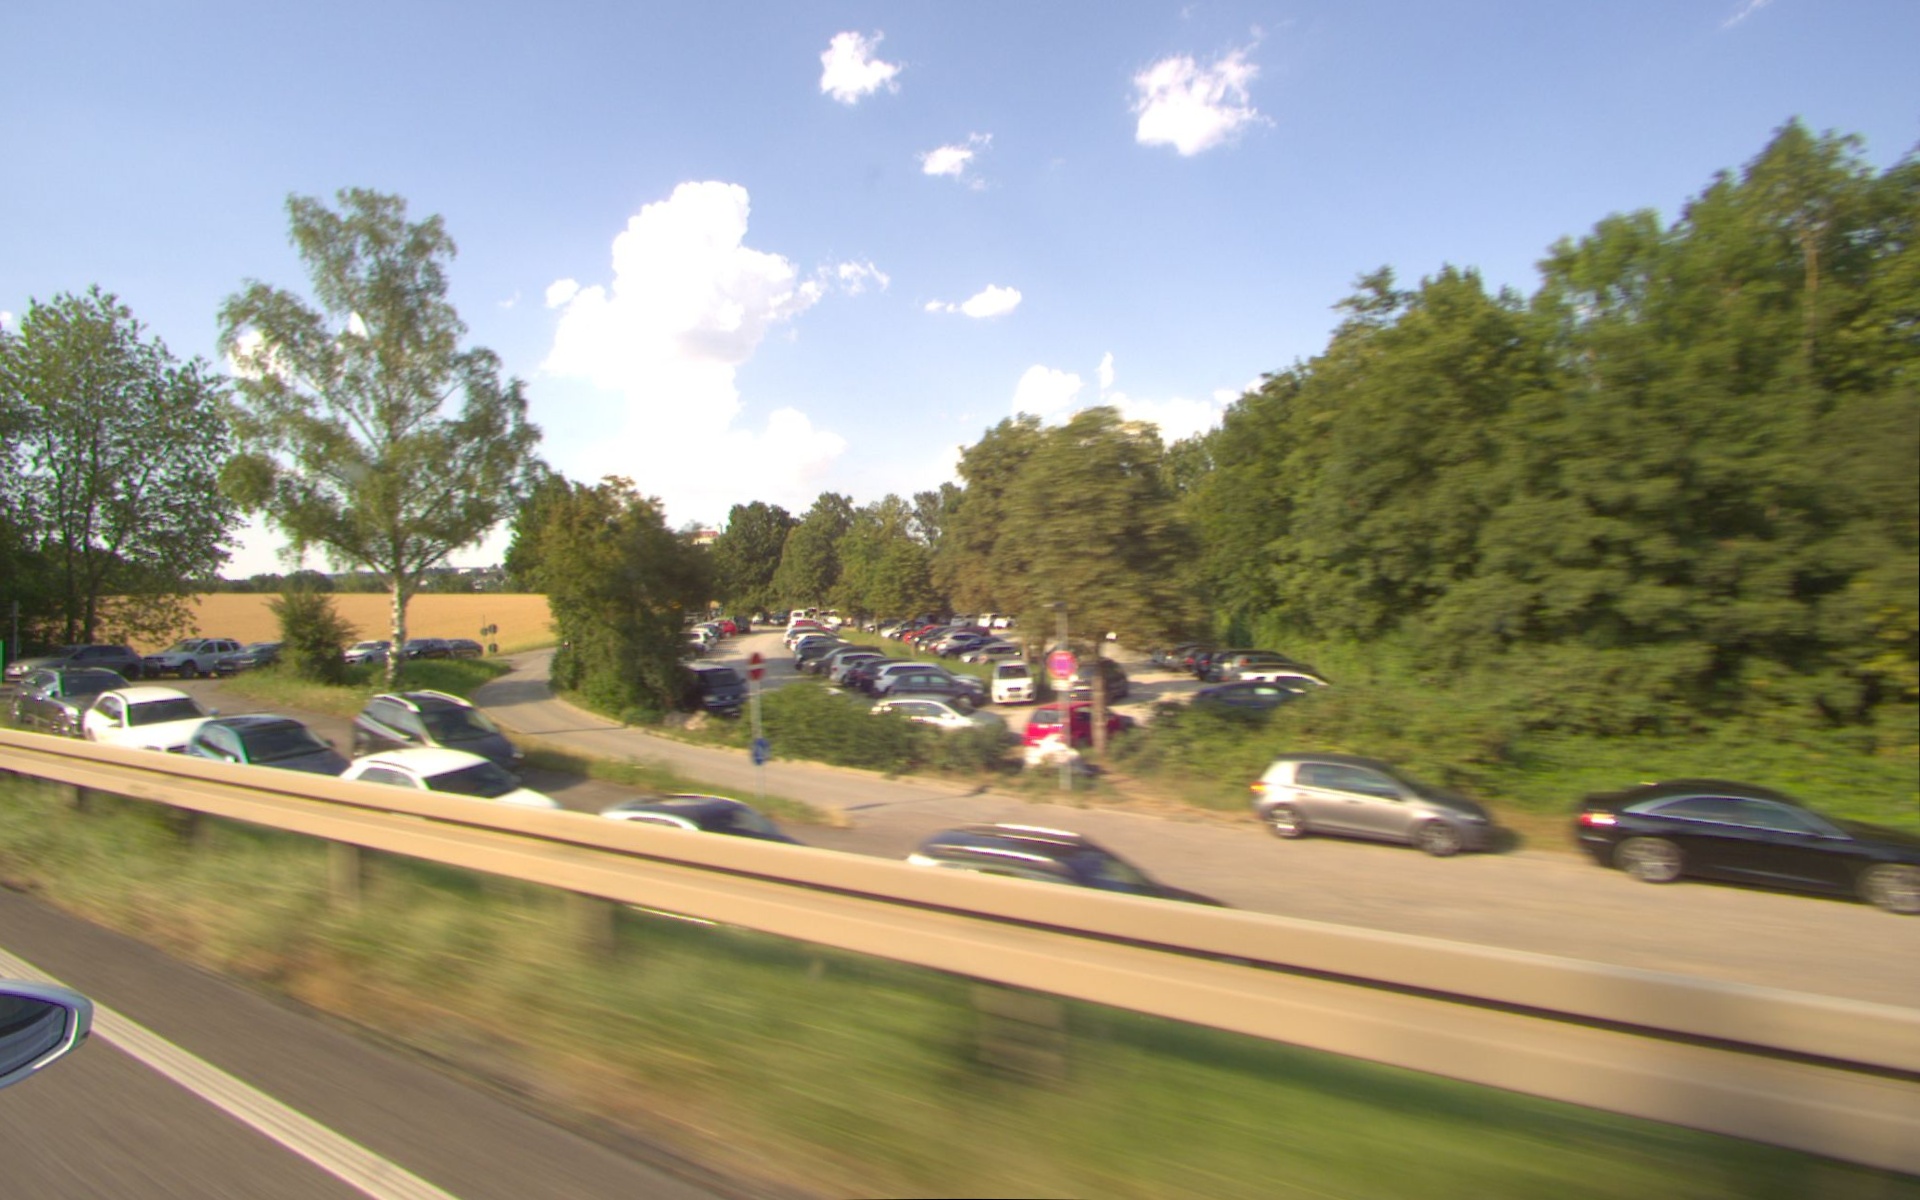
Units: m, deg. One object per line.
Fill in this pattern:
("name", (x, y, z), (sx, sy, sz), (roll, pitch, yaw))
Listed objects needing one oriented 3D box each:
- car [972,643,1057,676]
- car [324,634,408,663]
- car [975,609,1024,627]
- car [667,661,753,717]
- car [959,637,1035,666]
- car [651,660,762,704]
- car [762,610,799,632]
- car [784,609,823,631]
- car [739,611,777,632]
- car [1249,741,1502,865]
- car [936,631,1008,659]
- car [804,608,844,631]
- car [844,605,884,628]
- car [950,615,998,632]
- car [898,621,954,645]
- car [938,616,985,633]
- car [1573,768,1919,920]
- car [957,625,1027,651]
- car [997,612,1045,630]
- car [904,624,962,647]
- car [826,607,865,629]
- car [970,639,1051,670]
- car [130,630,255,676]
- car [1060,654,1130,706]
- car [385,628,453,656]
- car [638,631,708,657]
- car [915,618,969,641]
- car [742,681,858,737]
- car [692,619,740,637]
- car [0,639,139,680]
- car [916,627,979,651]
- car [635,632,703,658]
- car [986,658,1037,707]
("car", (2.993, 3.295, 55.841), (4.508, 1.713, 1.803), (0, 0, -5))
("car", (-32.950, 2.666, 55.700), (1.961, 1.526, 4.645), (0, -2, -1))
("car", (3.877, 1.794, 98.546), (4.512, 1.713, 1.802), (0, 0, -13))
("car", (-9.973, 3.466, 39.738), (1.781, 1.866, 4.565), (0, -1, -35))
("car", (2.265, 3.151, 61.757), (4.508, 1.713, 1.803), (0, 0, -5))
("car", (-11.375, 3.649, 45.013), (4.534, 1.713, 1.793), (0, -1, -32))
("car", (-20.323, 2.318, 113.602), (2.316, 2.272, 5.666), (-2, 0, 10))
("car", (-17.715, 2.223, 113.369), (2.455, 2.339, 6.074), (-2, 0, 10))
("car", (-22.952, 2.419, 114.144), (2.316, 2.272, 5.666), (-2, 0, 10))
("car", (7.531, 3.595, 18.261), (4.039, 1.418, 1.697), (1, 4, 31))
("car", (0.761, 2.892, 64.383), (4.508, 1.713, 1.803), (0, 0, -5))
("car", (-15.140, 2.139, 111.743), (2.318, 2.272, 5.661), (-2, 0, 16))
("car", (-10.416, 1.768, 109.104), (2.318, 2.272, 5.661), (-2, 0, 16))
("car", (1.349, 2.351, 100.064), (4.511, 1.713, 1.802), (0, 0, -12))
("car", (-2.778, 2.701, 82.051), (4.508, 1.916, 1.803), (0, 0, -5))
("car", (0.145, 2.495, 102.061), (4.511, 1.713, 1.802), (0, 0, -12))
("car", (12.114, 3.617, 15.227), (4.719, 1.418, 1.695), (-1, 2, 34))
("car", (2.130, 2.546, 67.647), (4.508, 1.713, 1.803), (0, 0, -5))
("car", (5.849, 2.013, 95.561), (4.507, 1.713, 1.803), (0, 0, 6))
("car", (-2.155, 2.812, 79.296), (4.508, 1.713, 1.803), (0, 0, -5))
("car", (-12.629, 1.972, 111.176), (2.291, 2.272, 5.661), (-2, 0, 16))
("car", (2.922, 3.160, 58.232), (4.508, 1.713, 1.803), (0, 0, -5))
("car", (-32.997, 2.225, 43.210), (1.776, 1.771, 4.216), (0, 0, 8))
("car", (5.378, 3.096, 39.414), (1.787, 1.776, 4.140), (0, -1, 22))
("car", (-30.491, 2.376, 56.572), (1.776, 1.459, 3.935), (1, -2, -1))
("car", (-19.728, 3.018, 68.981), (4.511, 1.713, 1.802), (0, 0, -12))
("car", (-1.527, 2.526, 85.578), (4.508, 1.916, 1.803), (0, 0, -5))
("car", (-5.573, 3.700, 34.523), (4.243, 1.505, 1.680), (0, 0, 42))
("car", (-23.662, 2.675, 97.207), (4.511, 1.713, 1.802), (0, 0, -12))
("car", (-33.687, 2.236, 37.963), (1.776, 1.459, 3.731), (0, -2, 9))
("car", (-0.923, 2.844, 73.110), (4.508, 1.713, 1.803), (0, 0, -5))
("car", (-20.847, 3.224, 71.888), (4.511, 1.713, 1.802), (0, 0, -12))
("car", (2.140, 3.294, 40.480), (1.623, 1.692, 4.149), (0, -1, 9))
